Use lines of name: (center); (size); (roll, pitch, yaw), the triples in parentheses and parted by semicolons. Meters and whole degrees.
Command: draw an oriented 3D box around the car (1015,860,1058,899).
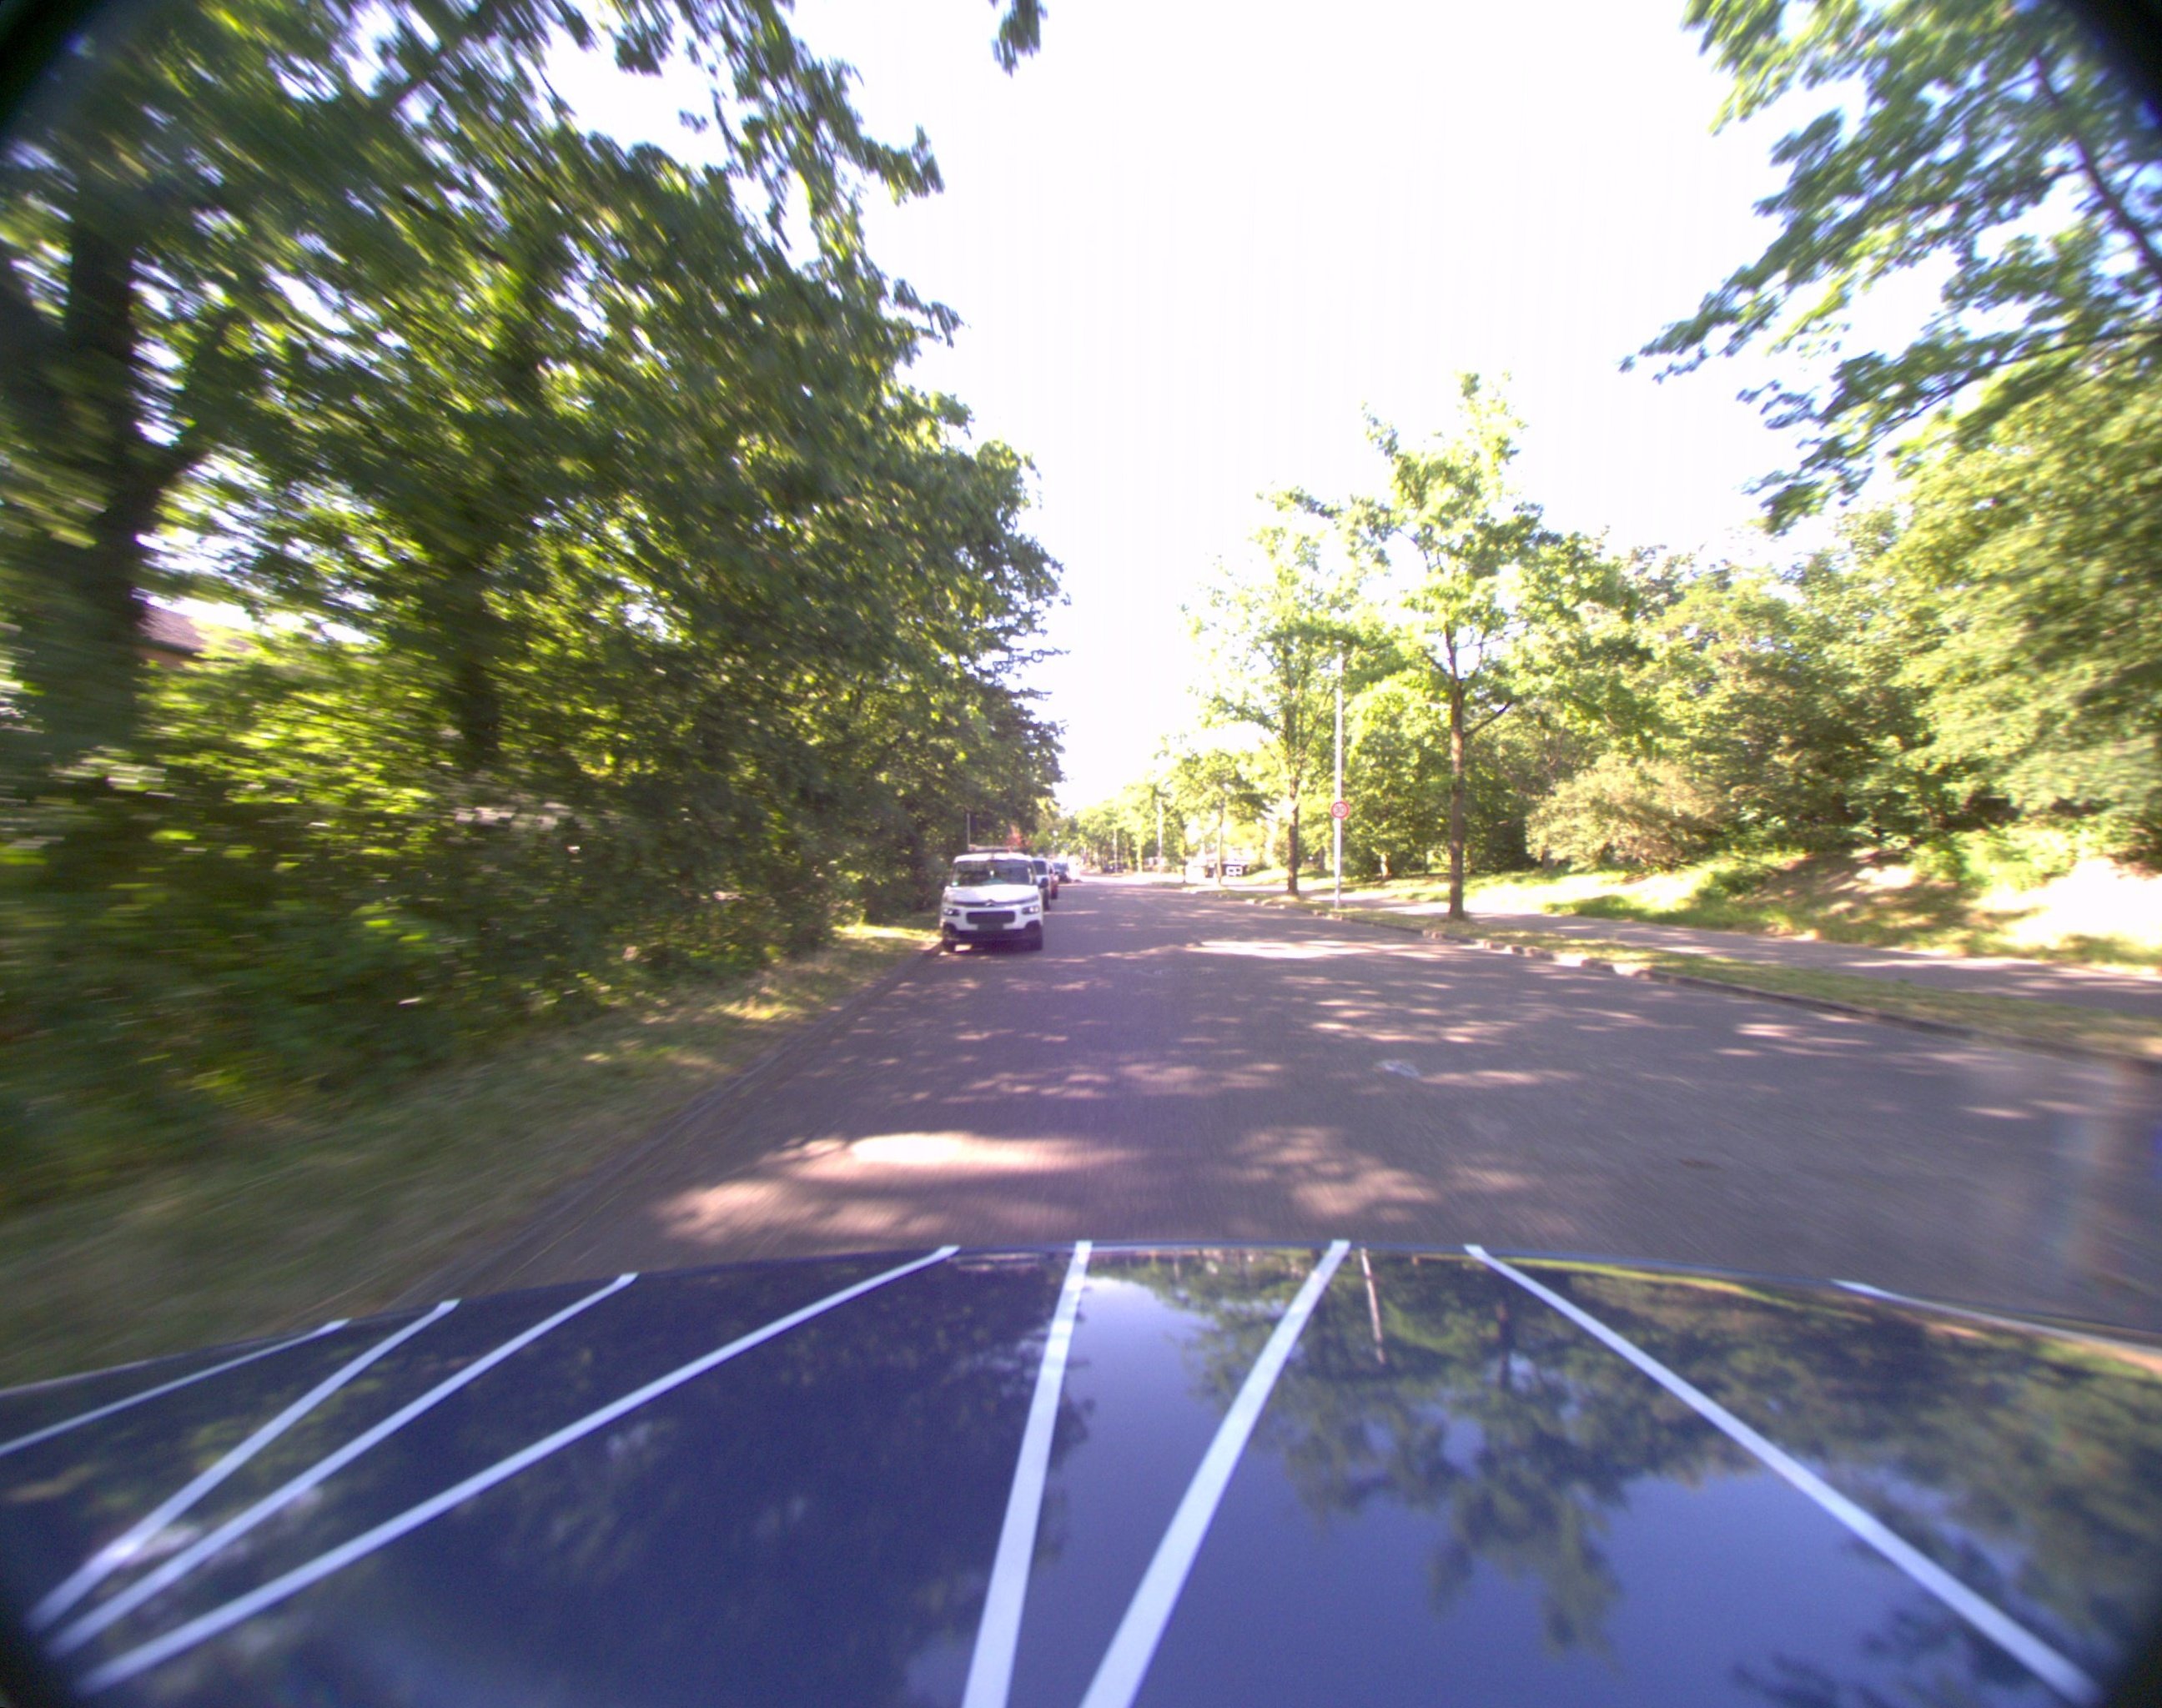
car: (-1.959, 1.098, 34.043); (1.772, 1.629, 3.752); (-1, 0, -1)

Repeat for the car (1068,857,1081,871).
car: (-0.772, 1.156, 90.177); (1.421, 1.643, 3.910); (-1, 0, 1)

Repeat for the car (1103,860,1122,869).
car: (4.508, 1.504, 109.772); (2.000, 1.359, 3.997); (0, 0, -7)

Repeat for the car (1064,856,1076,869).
car: (-1.490, 1.113, 103.319); (1.421, 1.643, 3.910); (-1, 0, 1)

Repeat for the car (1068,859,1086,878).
car: (-0.349, 1.235, 66.128); (1.449, 1.643, 3.720); (-1, 0, 1)

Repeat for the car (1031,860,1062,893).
car: (-1.748, 1.128, 39.705); (1.500, 1.629, 3.752); (-1, 0, -1)

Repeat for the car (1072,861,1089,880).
car: (-0.036, 1.518, 70.515); (1.449, 1.643, 3.720); (-1, 0, 1)

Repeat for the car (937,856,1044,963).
car: (-1.653, 0.924, 14.961); (1.755, 1.739, 4.632); (-1, 0, -4)

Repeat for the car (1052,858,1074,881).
car: (-1.315, 1.145, 56.848); (1.500, 1.643, 4.092); (-1, 0, 1)

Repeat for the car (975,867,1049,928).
car: (-1.845, 1.150, 21.582); (1.722, 1.436, 4.613); (-2, 0, -1)

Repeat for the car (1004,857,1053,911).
car: (-1.771, 0.984, 26.469); (1.500, 1.744, 3.801); (-1, 0, -1)

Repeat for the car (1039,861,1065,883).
car: (-1.891, 1.187, 50.325); (1.500, 1.351, 3.467); (-1, 0, 1)
